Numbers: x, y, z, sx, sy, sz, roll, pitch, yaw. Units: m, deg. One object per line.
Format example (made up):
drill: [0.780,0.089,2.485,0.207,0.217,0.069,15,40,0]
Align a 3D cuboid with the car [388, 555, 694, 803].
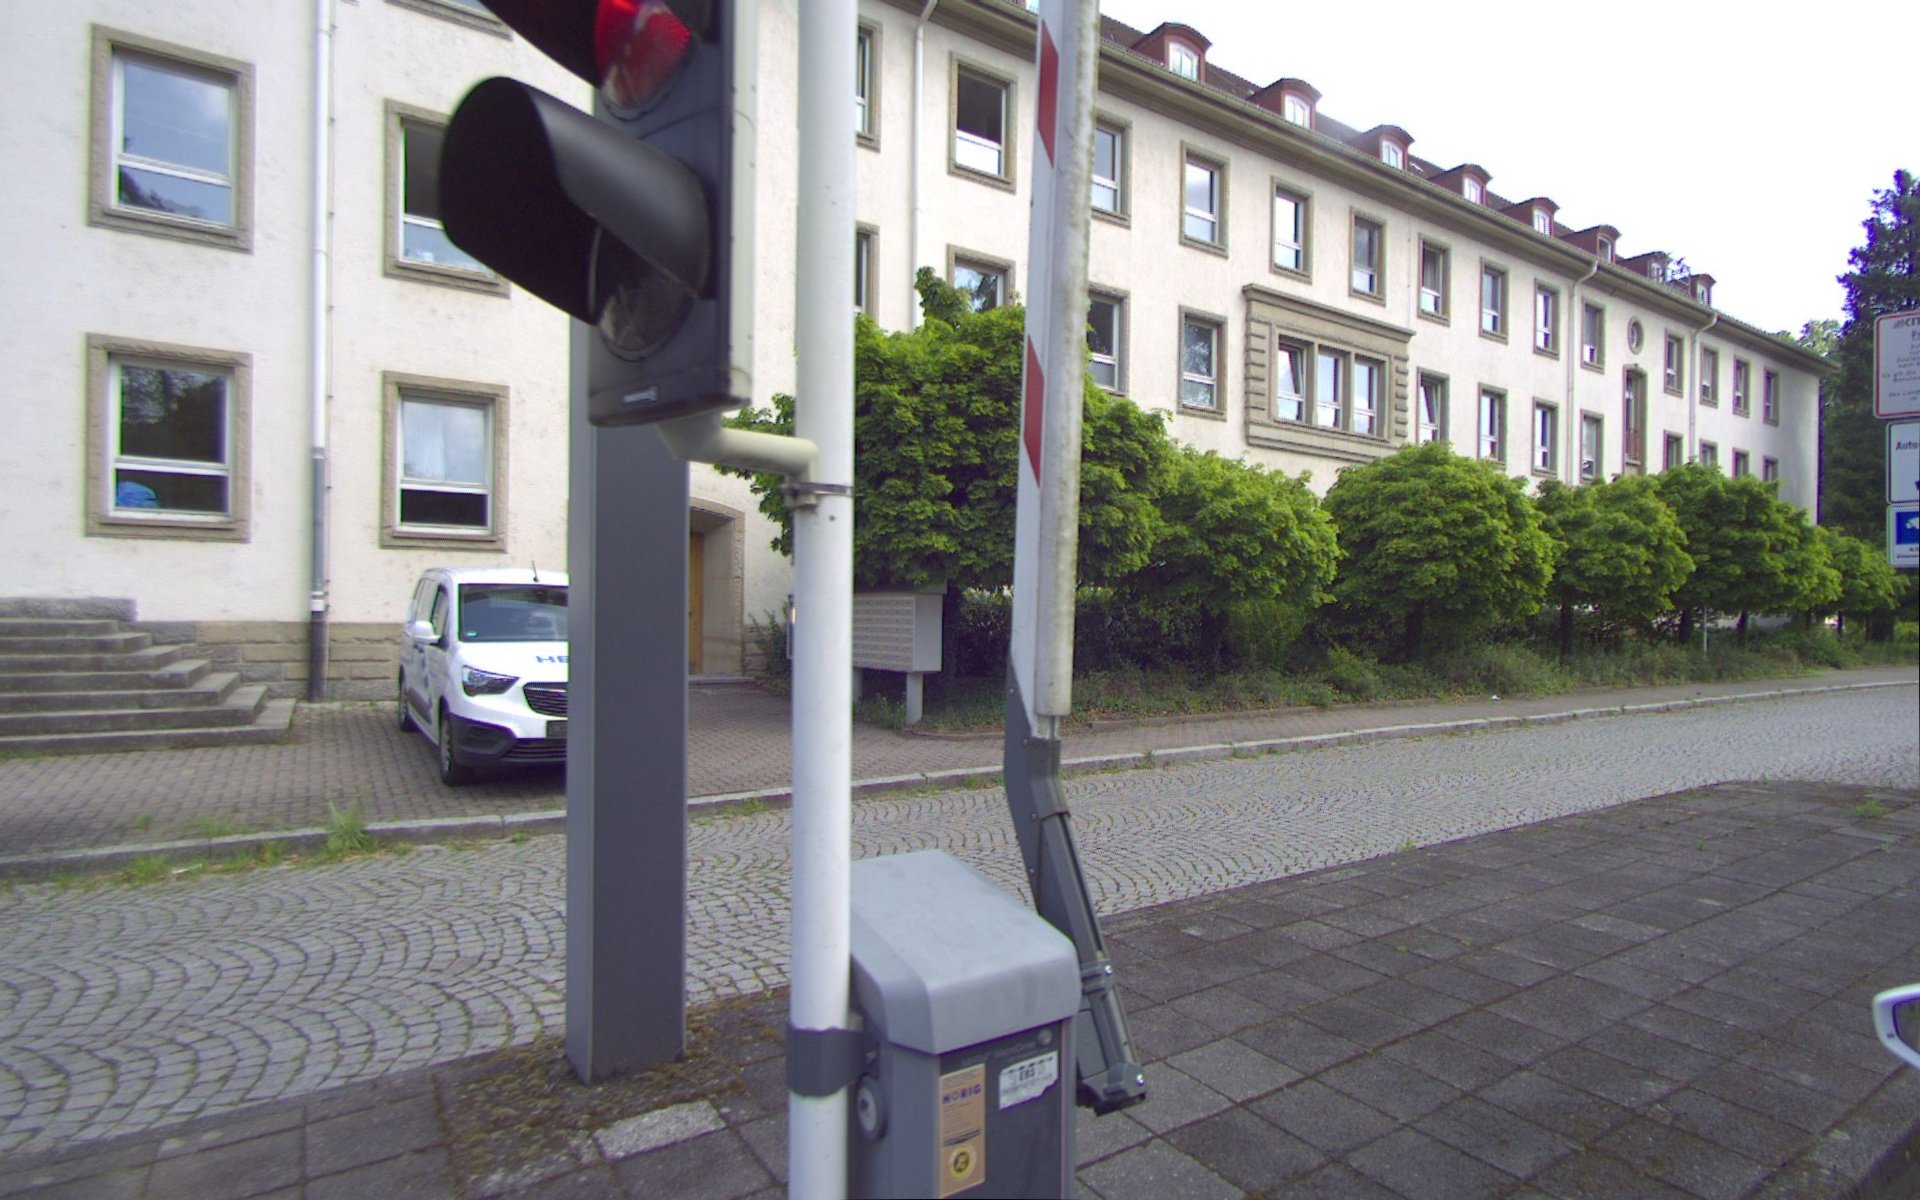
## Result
car: [-4.277,0.544,9.815,1.803,1.830,4.270,2,2,-36]
